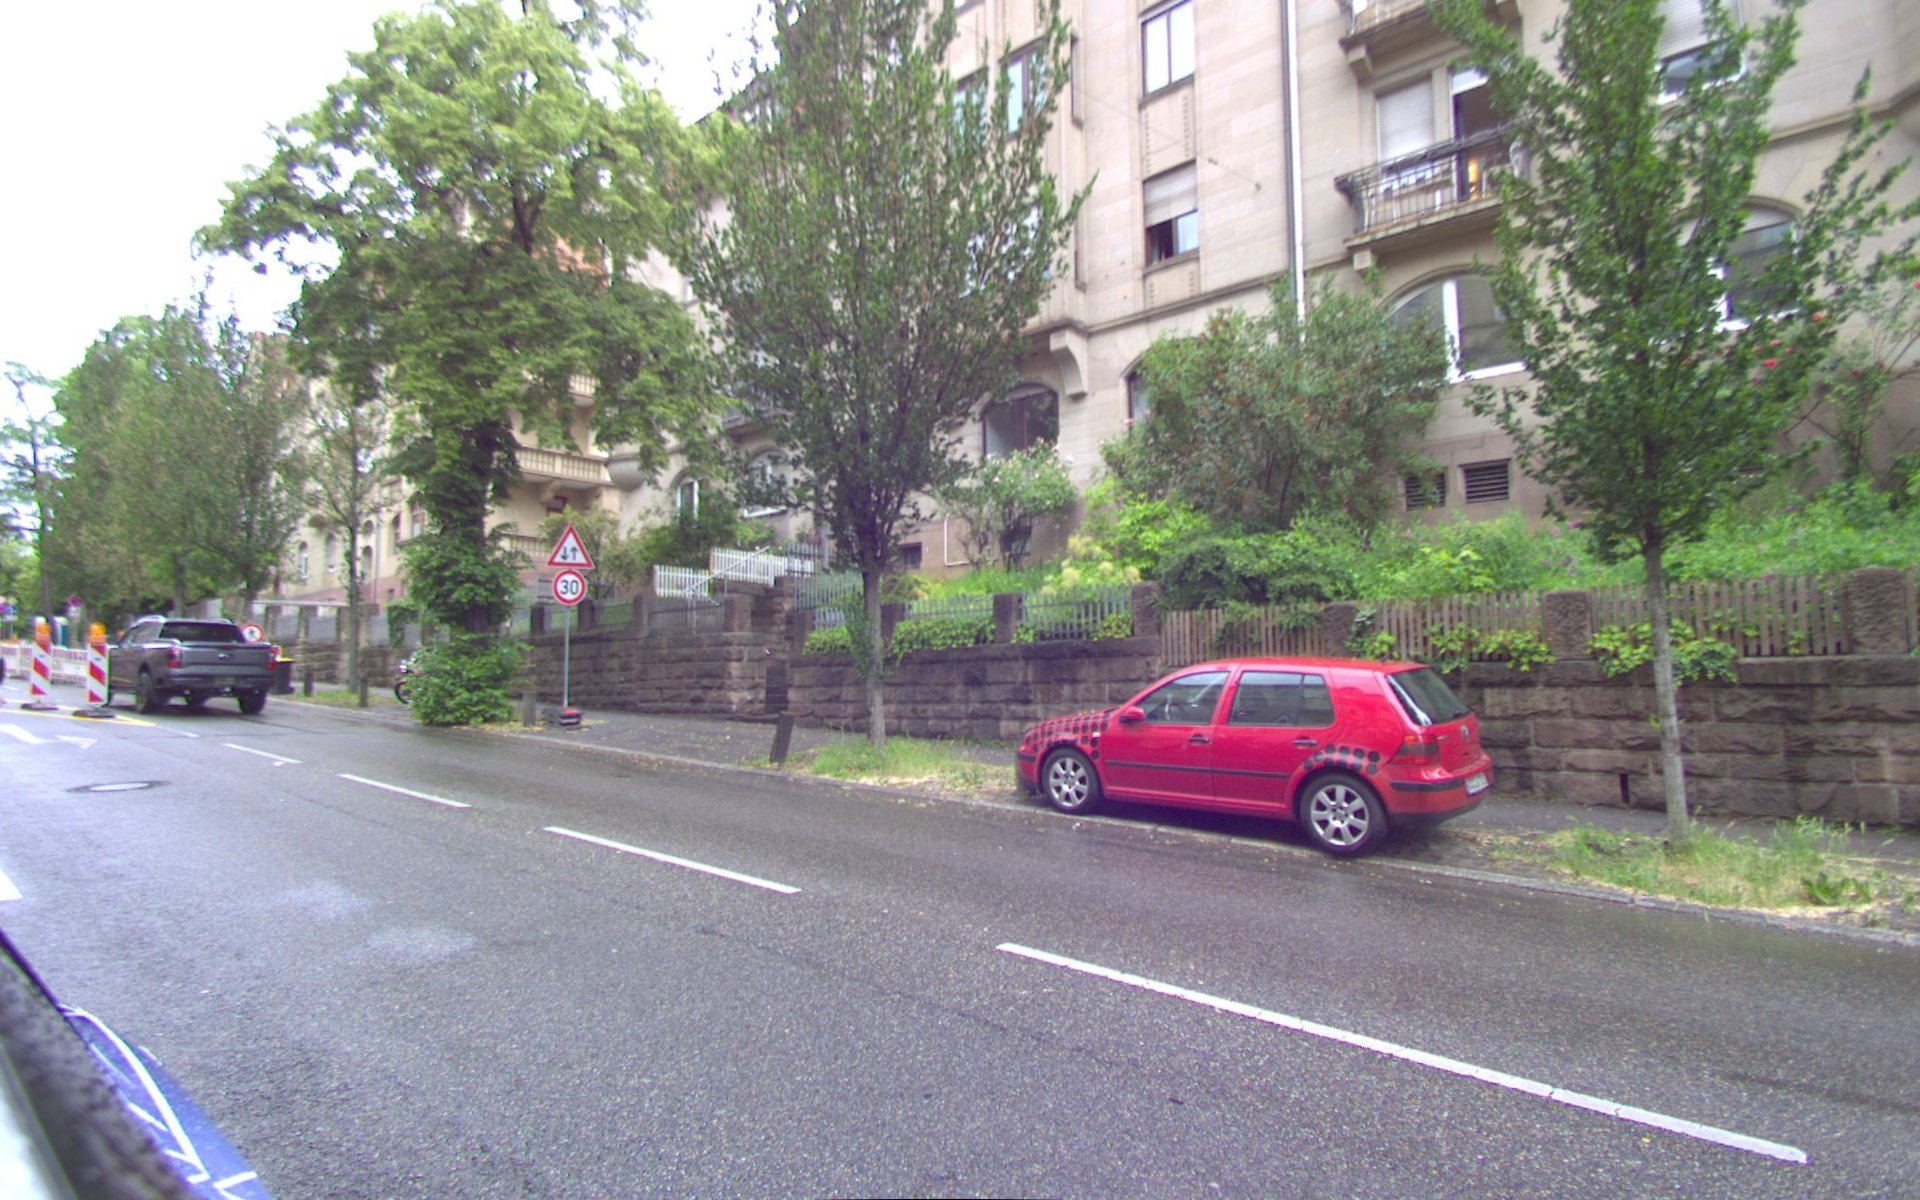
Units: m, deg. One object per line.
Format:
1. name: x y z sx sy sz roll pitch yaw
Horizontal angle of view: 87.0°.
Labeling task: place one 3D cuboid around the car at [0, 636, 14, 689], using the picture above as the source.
1. car: -28.935 1.763 29.330 3.652 1.483 1.649 -2 -6 39

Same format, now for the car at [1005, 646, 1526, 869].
1. car: 2.461 1.154 8.824 4.062 1.462 1.596 -2 -3 42

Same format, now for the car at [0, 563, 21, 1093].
1. car: -5.316 0.755 4.087 4.520 1.685 1.799 -2 -3 42

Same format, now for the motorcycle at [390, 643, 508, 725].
1. motorcycle: -9.712 1.535 19.152 3.058 1.425 0.792 -2 -2 38

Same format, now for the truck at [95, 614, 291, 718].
1. truck: -15.556 1.314 20.414 5.150 1.850 2.049 -2 -6 41
